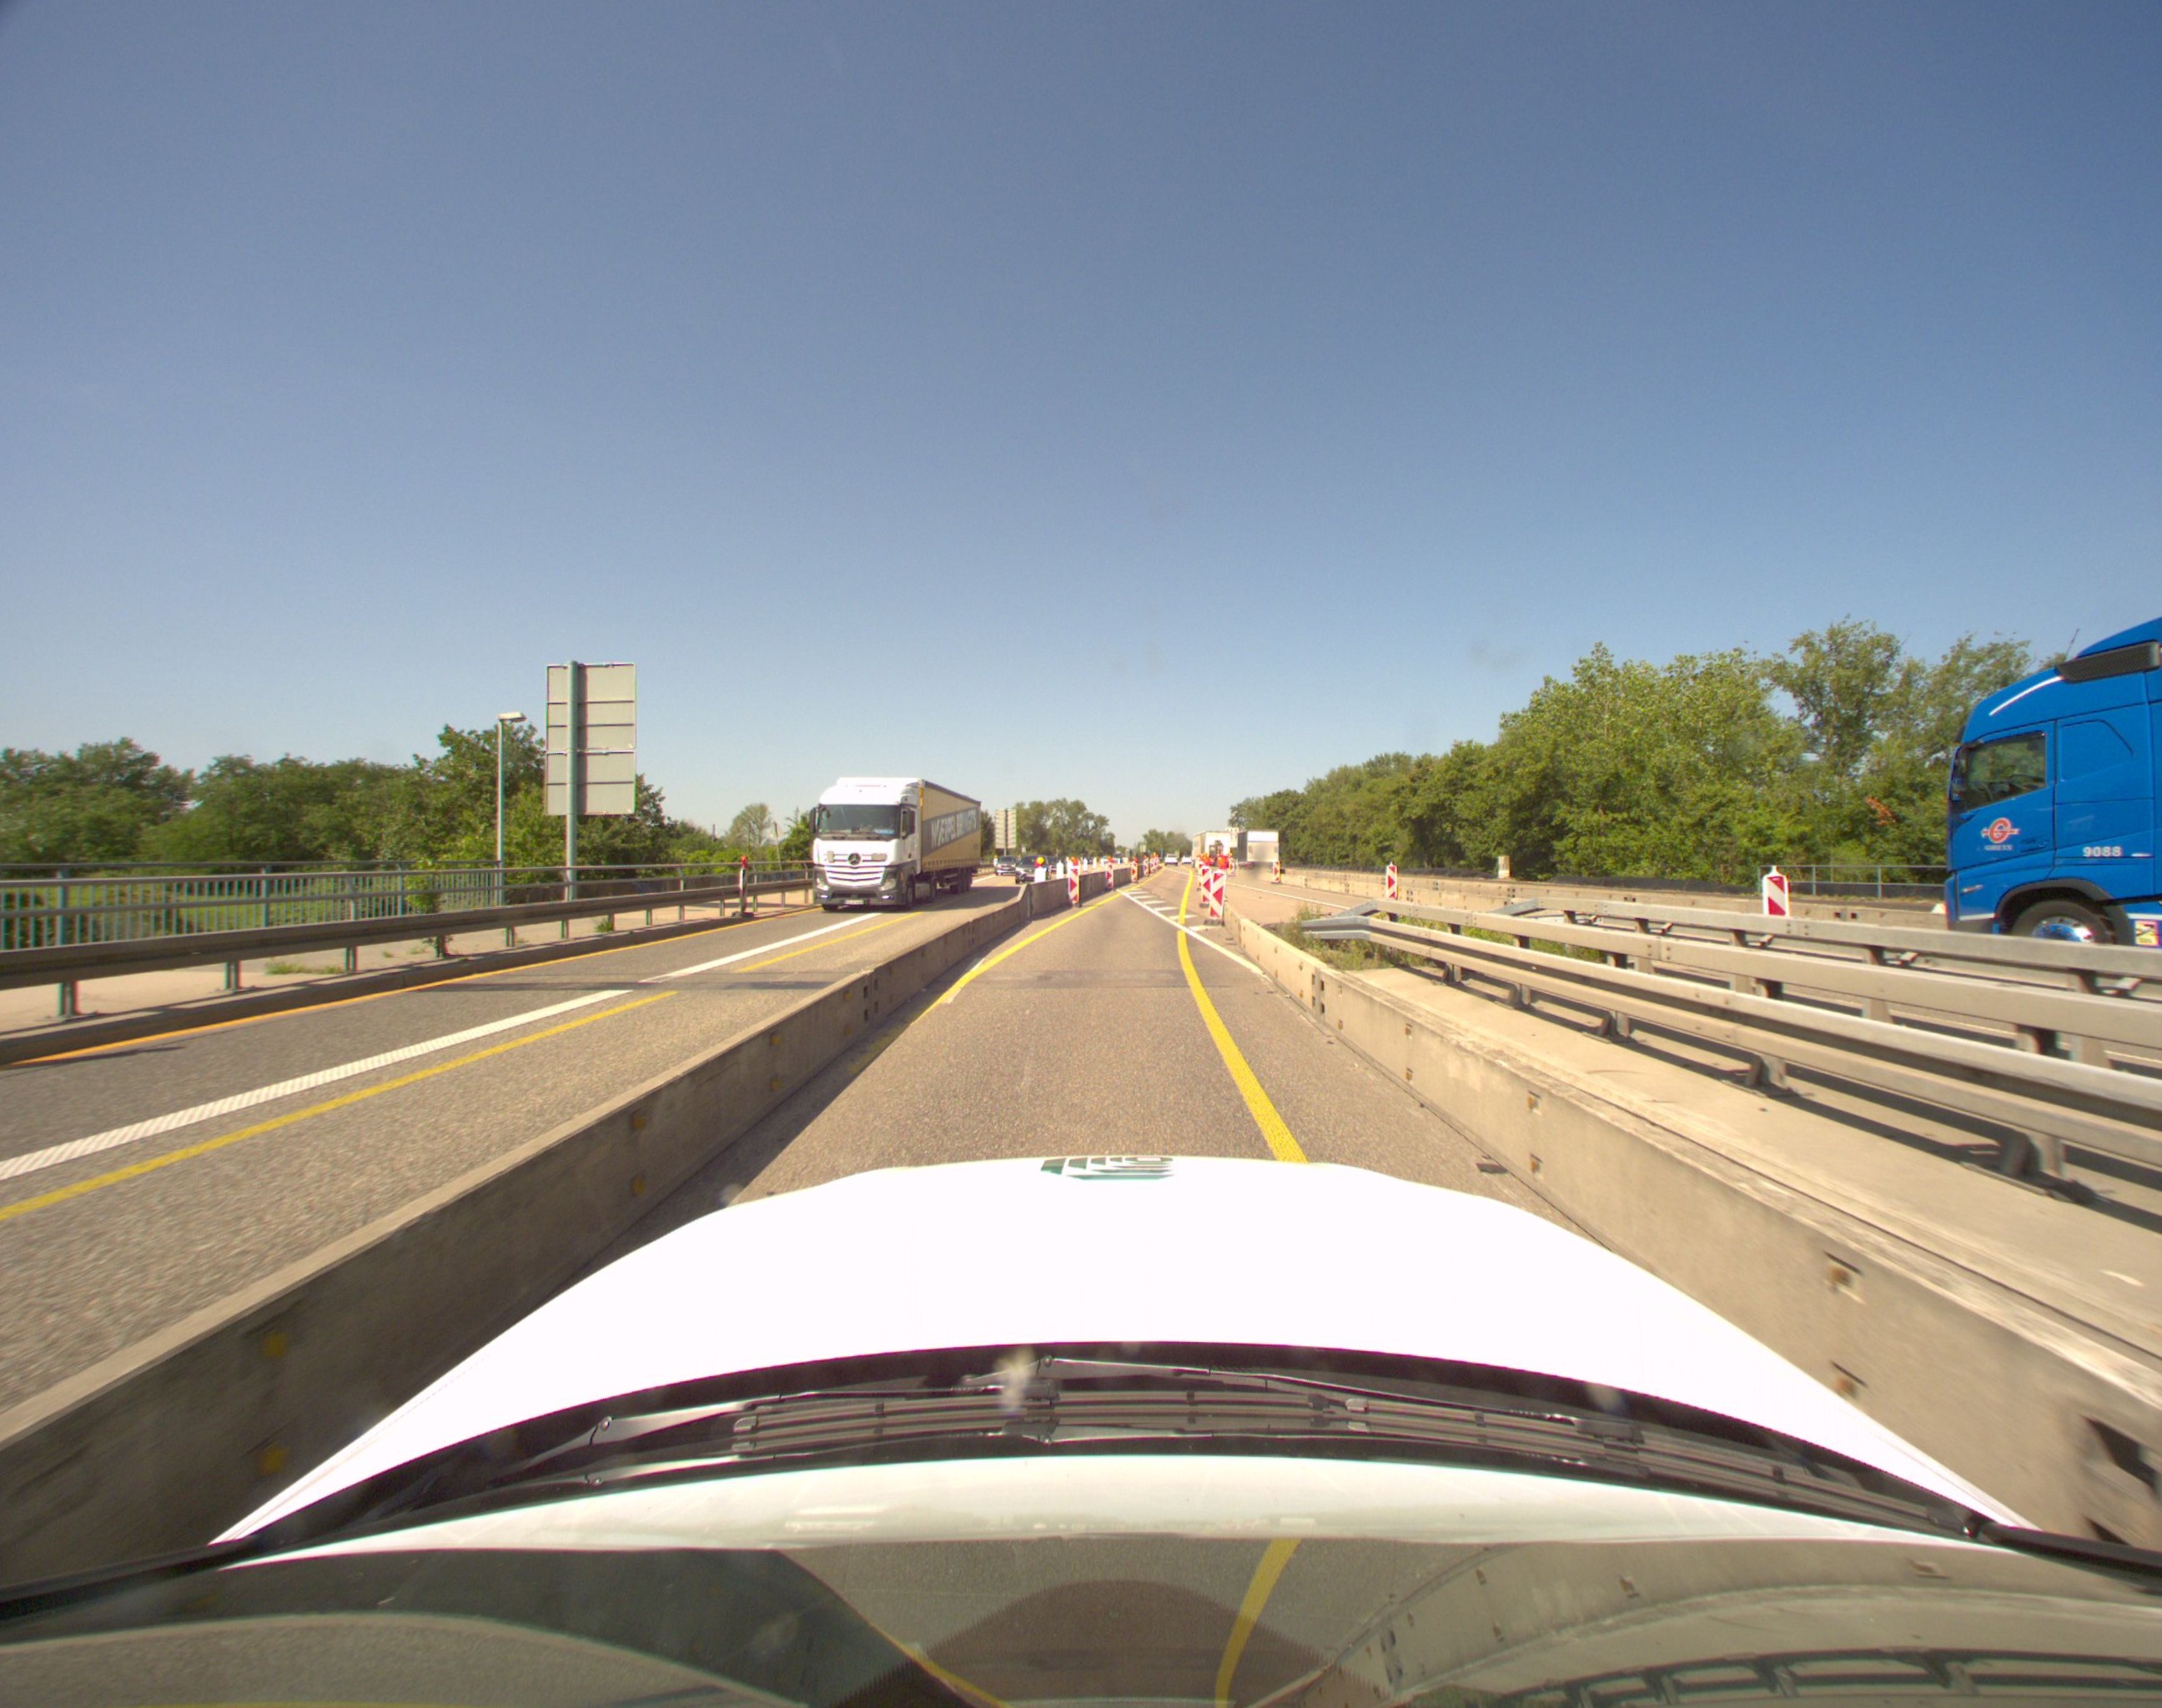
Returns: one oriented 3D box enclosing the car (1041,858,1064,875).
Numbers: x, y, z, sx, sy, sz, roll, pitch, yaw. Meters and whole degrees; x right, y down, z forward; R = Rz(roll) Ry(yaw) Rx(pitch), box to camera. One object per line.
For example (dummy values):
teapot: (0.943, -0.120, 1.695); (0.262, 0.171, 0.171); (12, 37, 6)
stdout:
car: (-2.428, 1.039, 70.419); (1.683, 1.376, 4.275); (0, 0, 2)

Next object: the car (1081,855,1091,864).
car: (0.940, 1.013, 147.916); (1.730, 1.476, 4.649); (-1, 0, 3)

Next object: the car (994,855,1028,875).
car: (-5.352, 0.808, 62.678); (1.924, 1.508, 4.474); (0, 0, 4)

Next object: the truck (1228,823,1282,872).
truck: (13.202, -0.481, 62.260); (2.625, 3.427, 7.233); (-1, 0, 0)

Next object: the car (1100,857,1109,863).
car: (4.969, 1.269, 172.615); (1.711, 1.397, 4.524); (1, 0, 4)

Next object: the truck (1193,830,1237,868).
truck: (14.110, -0.476, 86.279); (3.377, 3.774, 7.232); (-1, 0, 0)

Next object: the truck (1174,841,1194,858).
truck: (26.085, -1.131, 206.995); (4.203, 4.266, 10.247); (-1, 0, 2)

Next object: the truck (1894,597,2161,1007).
truck: (12.164, -0.544, 7.219); (2.684, 4.102, 7.302); (-1, 0, 1)

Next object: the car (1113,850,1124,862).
car: (8.875, 0.441, 191.326); (2.134, 2.660, 5.557); (0, 0, 7)

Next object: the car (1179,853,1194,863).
car: (18.676, 0.679, 144.279); (1.987, 1.776, 4.000); (-1, 0, 0)

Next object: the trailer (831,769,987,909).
trailer: (-5.988, -0.433, 31.677); (2.751, 4.136, 14.532); (-1, 0, 1)

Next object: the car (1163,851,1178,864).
car: (12.775, 0.458, 116.473); (1.810, 1.776, 4.000); (-1, 0, 0)

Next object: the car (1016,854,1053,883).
car: (-2.547, 0.771, 45.394); (1.784, 1.568, 3.872); (-1, 0, 0)

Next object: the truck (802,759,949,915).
truck: (-6.064, -0.453, 25.201); (2.740, 4.136, 6.416); (-1, 0, 1)
